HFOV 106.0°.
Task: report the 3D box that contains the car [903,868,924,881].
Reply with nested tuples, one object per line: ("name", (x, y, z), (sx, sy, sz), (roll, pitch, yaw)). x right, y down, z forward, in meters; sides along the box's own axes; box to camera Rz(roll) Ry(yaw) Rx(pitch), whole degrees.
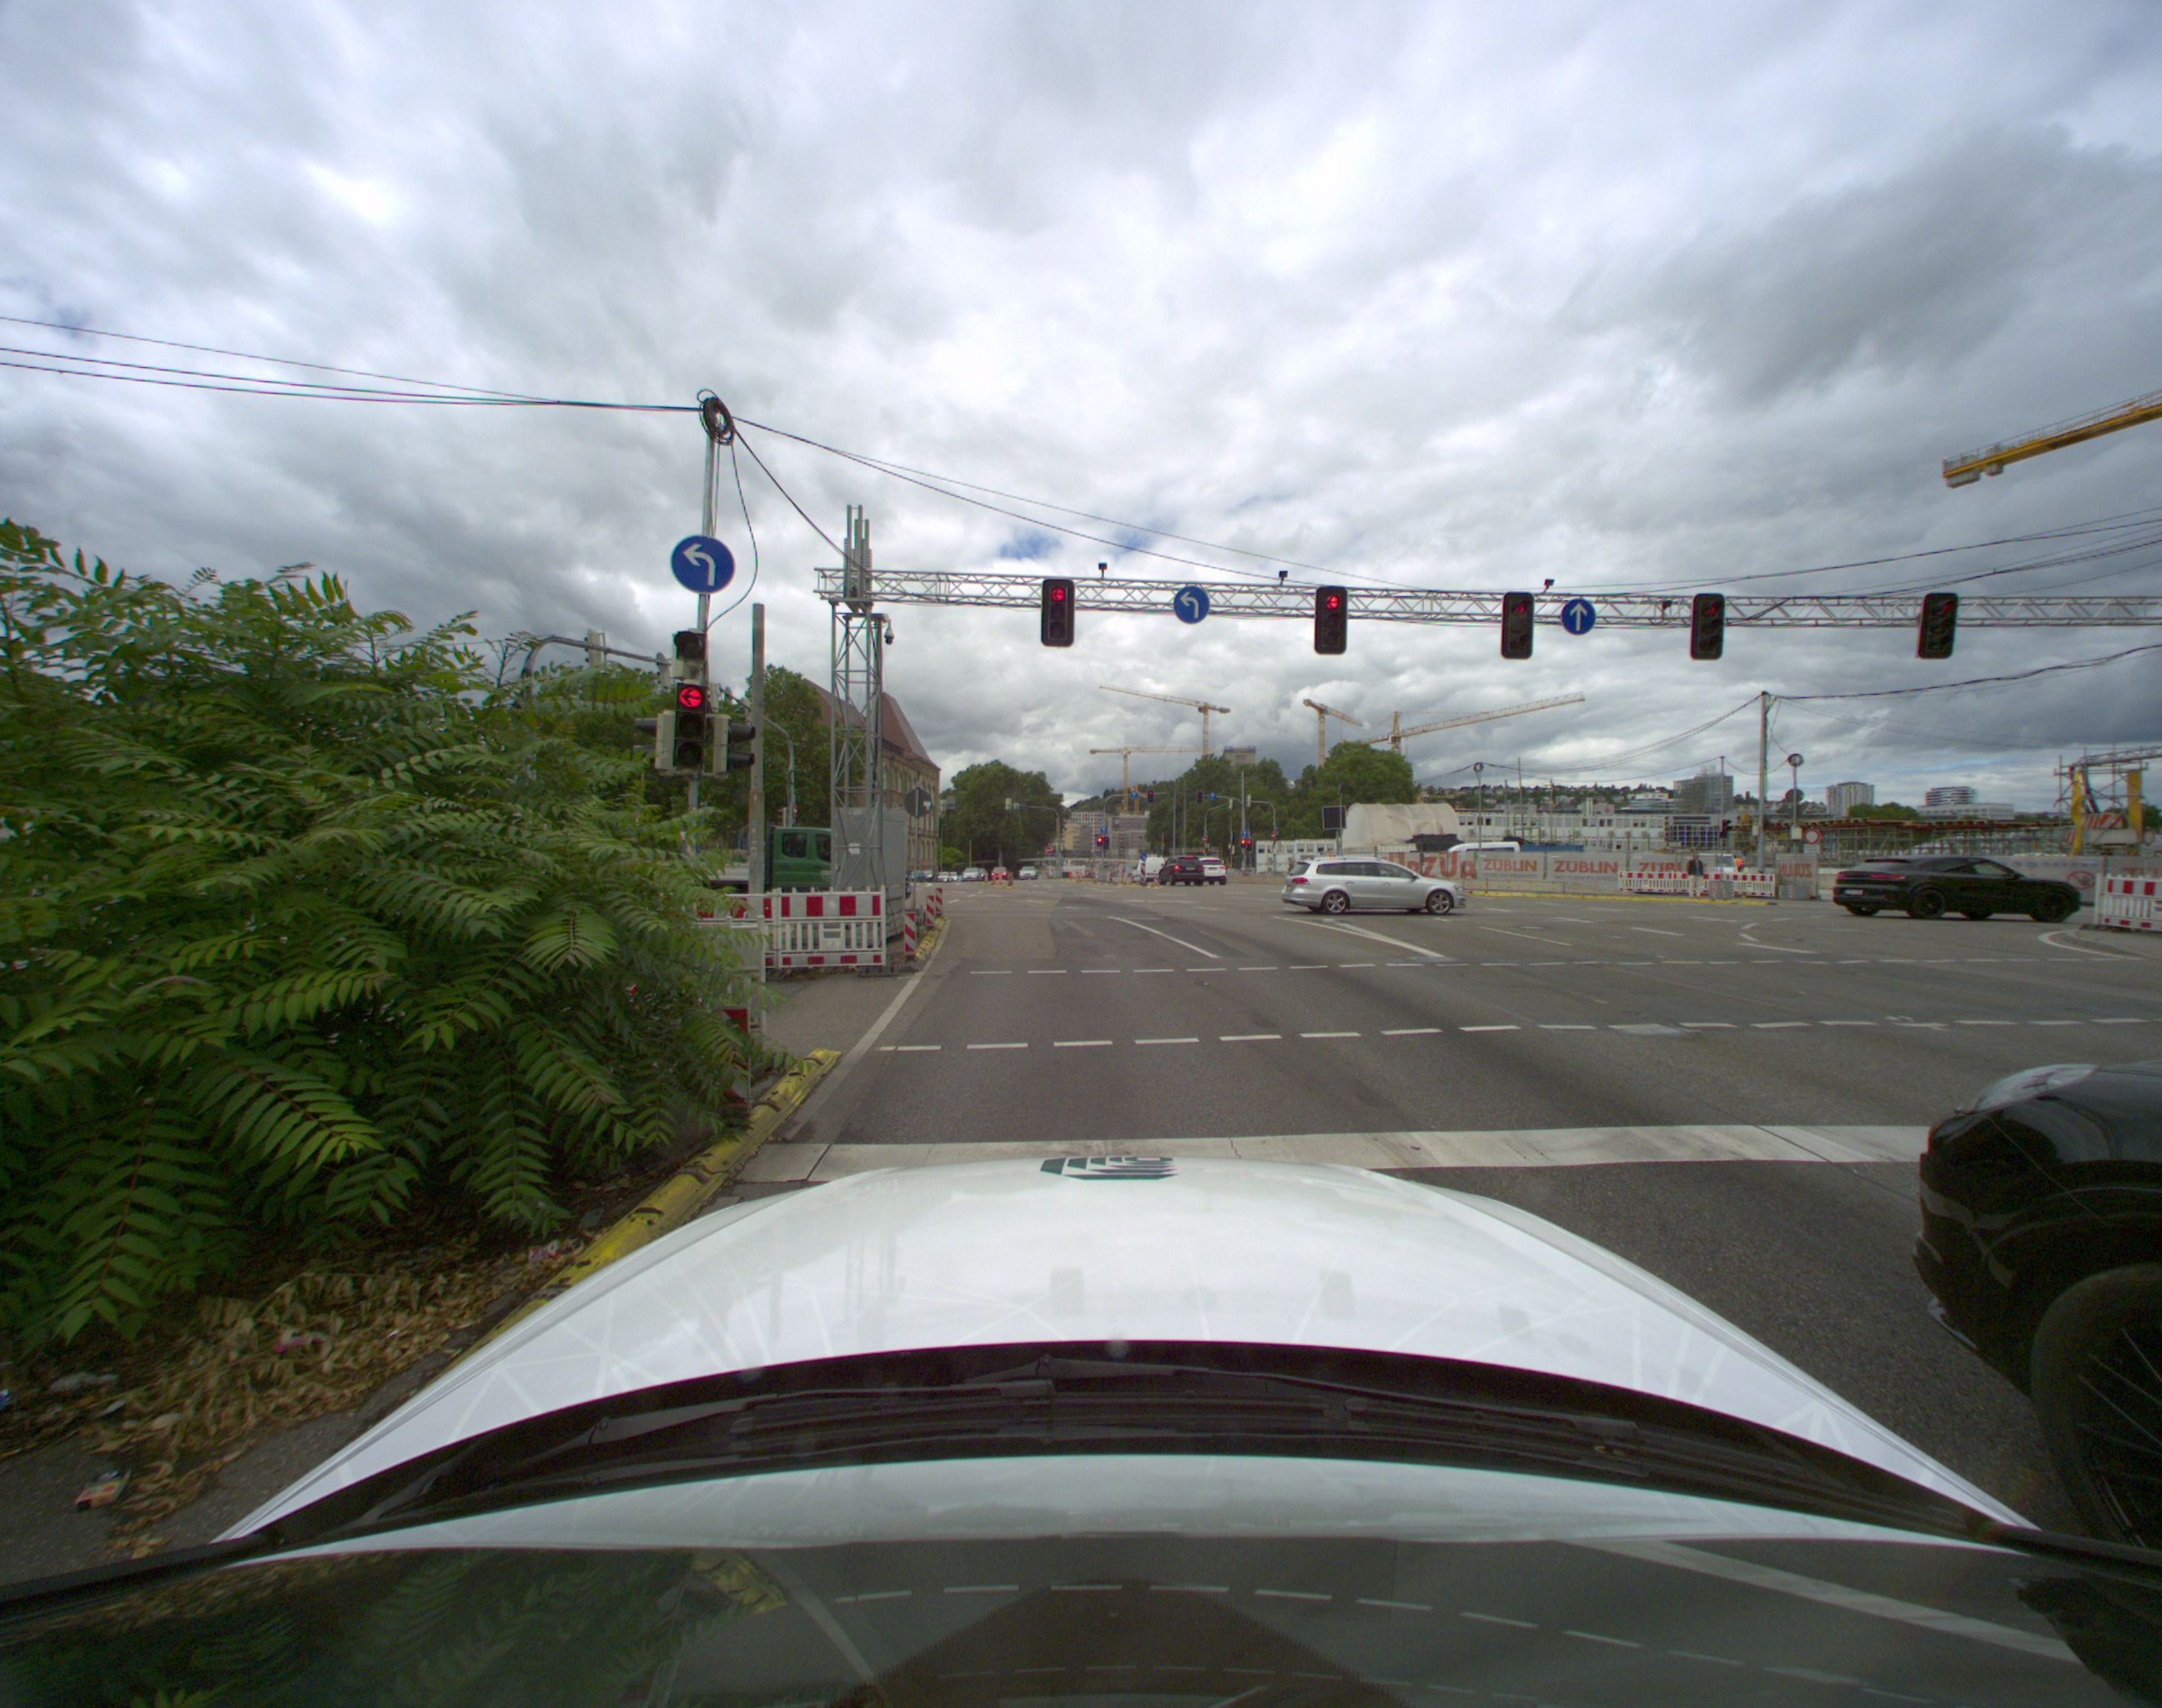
("car", (-17.904, 2.174, 87.087), (1.673, 1.398, 3.677), (0, -1, -4))

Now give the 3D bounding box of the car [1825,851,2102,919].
("car", (22.504, 0.765, 20.949), (4.787, 1.625, 2.022), (0, -1, 3))

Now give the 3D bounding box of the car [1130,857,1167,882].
("car", (4.569, 1.016, 55.579), (1.814, 1.625, 3.992), (0, -1, -5))

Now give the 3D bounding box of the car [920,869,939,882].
("car", (-17.402, 2.472, 93.567), (1.673, 1.398, 3.677), (0, -1, -4))

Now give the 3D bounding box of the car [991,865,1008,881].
("car", (-8.478, 1.997, 85.092), (1.673, 1.580, 3.677), (0, -1, -4))

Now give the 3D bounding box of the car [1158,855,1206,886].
("car", (5.962, 0.938, 48.495), (1.830, 1.746, 4.244), (0, -1, -8))

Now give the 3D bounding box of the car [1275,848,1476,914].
("car", (7.675, 0.696, 21.504), (4.696, 1.625, 1.681), (0, -1, -1))

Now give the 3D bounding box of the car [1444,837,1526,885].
("car", (23.233, 0.417, 46.975), (3.957, 2.662, 1.688), (-1, -1, 15))

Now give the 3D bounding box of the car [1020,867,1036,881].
("car", (-5.582, 2.068, 85.320), (1.673, 1.398, 3.677), (0, -1, -4))

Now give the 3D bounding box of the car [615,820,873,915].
("car", (-8.595, 0.337, 21.291), (5.745, 2.305, 2.301), (0, -1, -3))

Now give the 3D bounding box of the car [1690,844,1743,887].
("car", (30.135, 0.554, 38.702), (1.755, 1.954, 3.146), (-1, -1, 34))

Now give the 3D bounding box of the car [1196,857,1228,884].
("car", (8.481, 1.052, 53.001), (1.670, 1.702, 3.375), (0, -1, 2))

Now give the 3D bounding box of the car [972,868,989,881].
("car", (-11.365, 2.269, 92.234), (1.673, 1.398, 3.677), (0, -1, -4))

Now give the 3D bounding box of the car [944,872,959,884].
("car", (-17.295, 3.179, 109.117), (1.673, 1.399, 3.676), (-1, -4, -4))

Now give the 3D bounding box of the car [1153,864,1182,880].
("car", (8.021, 1.678, 75.960), (1.680, 1.398, 3.069), (0, -1, -16))

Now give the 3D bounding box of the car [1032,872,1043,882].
("car", (-6.748, 3.569, 127.076), (1.673, 1.398, 3.677), (0, -1, -4))

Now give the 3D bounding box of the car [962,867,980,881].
("car", (-11.618, 2.119, 86.077), (1.673, 1.398, 3.677), (0, -1, -4))

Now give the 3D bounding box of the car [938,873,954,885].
("car", (-16.871, 3.132, 101.840), (1.673, 1.398, 3.677), (0, -1, -4))

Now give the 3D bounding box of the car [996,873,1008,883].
("car", (-11.730, 3.558, 121.310), (1.673, 1.398, 3.677), (0, -1, -4))

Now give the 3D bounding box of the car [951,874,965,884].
("car", (-17.482, 3.557, 116.125), (1.673, 1.398, 3.677), (0, -1, -4))
